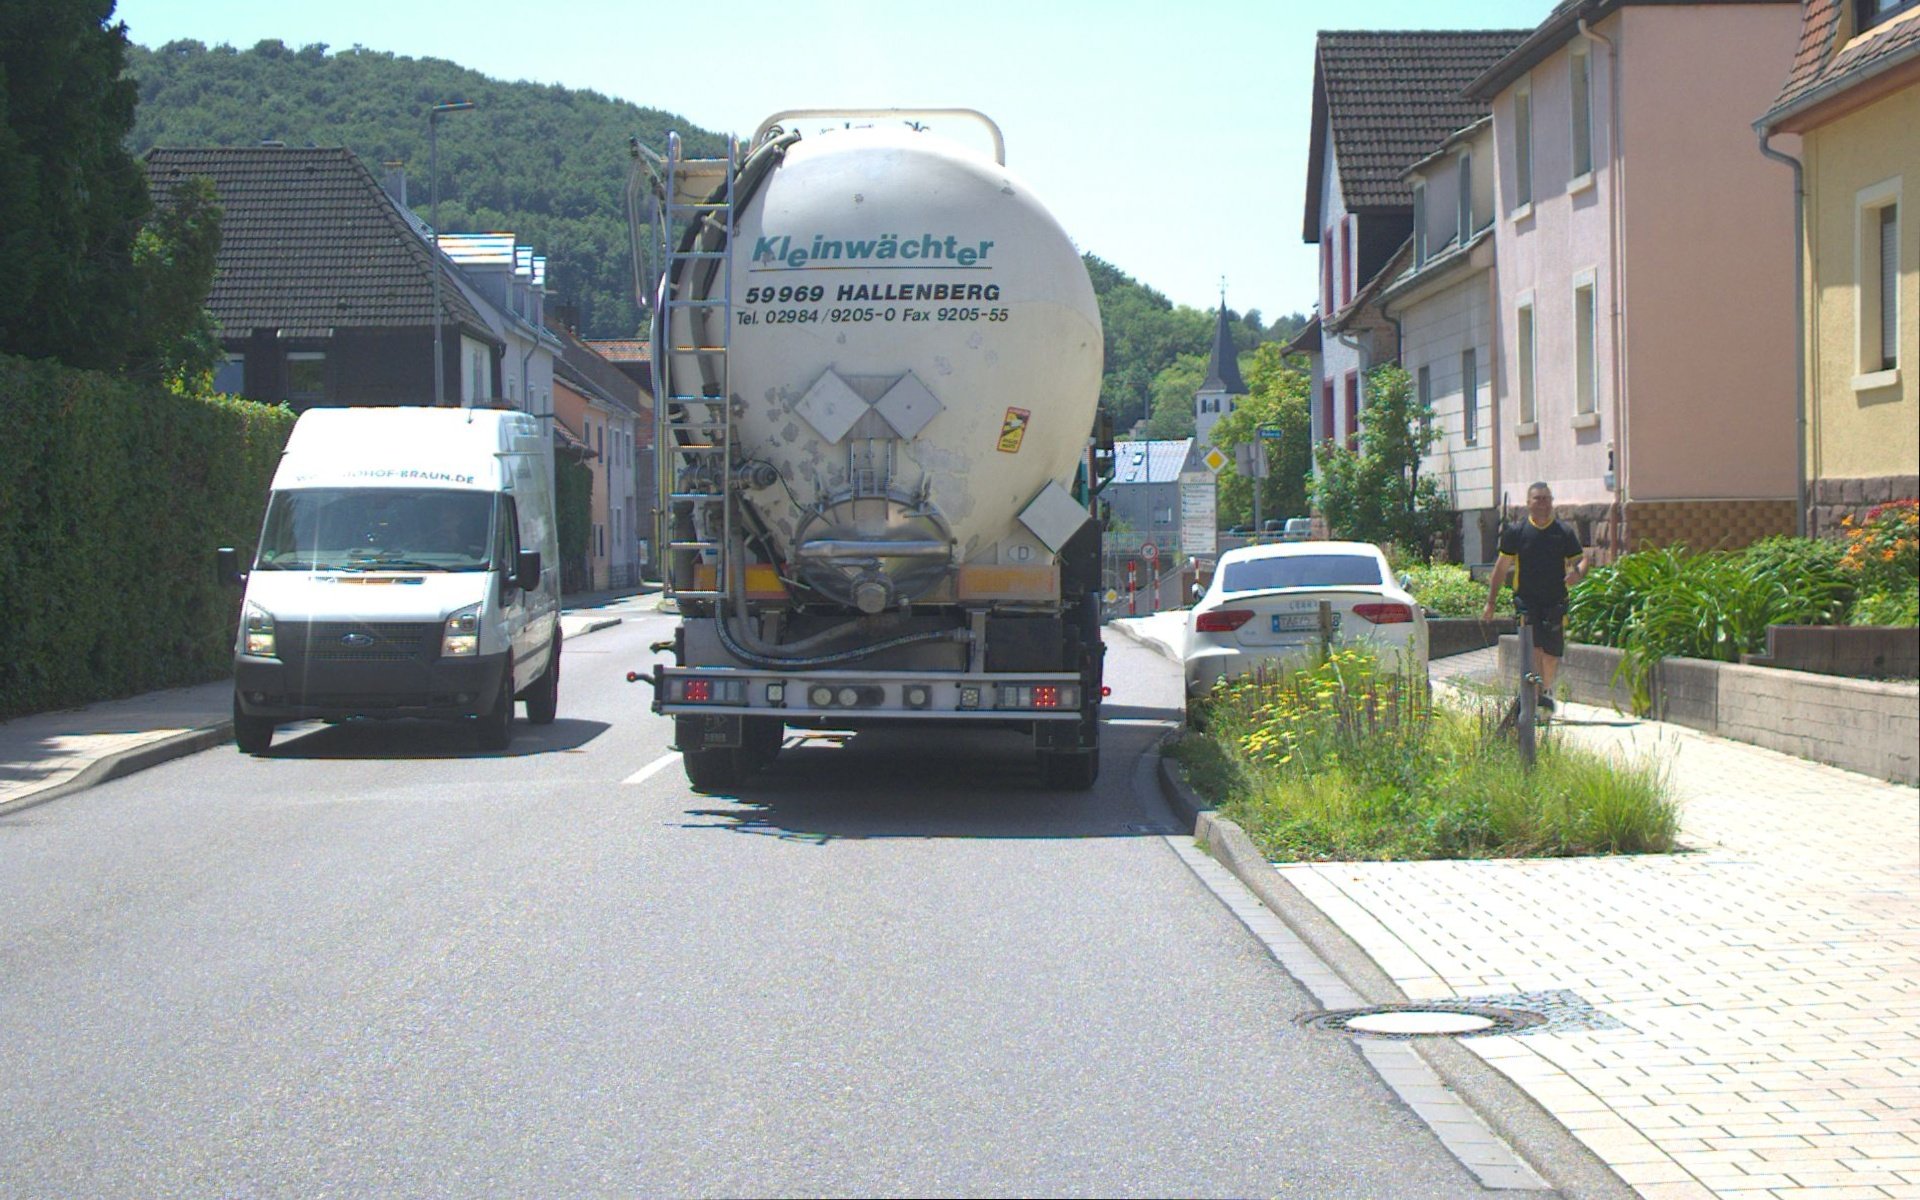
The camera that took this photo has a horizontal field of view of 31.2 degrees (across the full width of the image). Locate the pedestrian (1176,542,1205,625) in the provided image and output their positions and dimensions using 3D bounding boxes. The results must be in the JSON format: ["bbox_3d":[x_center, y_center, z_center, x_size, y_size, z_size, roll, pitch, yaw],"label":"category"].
[{"bbox_3d":[4.773,-0.342,71.163,0.571,1.688,0.721,1,0,3],"label":"pedestrian"}]

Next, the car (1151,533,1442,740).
[{"bbox_3d":[2.543,0.279,27.009,1.756,1.413,4.633,-2,0,0],"label":"car"}]

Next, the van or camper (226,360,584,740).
[{"bbox_3d":[-4.320,-0.361,27.688,2.037,2.704,5.824,1,0,-1],"label":"van or camper"}]

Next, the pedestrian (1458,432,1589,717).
[{"bbox_3d":[4.067,-0.179,24.868,0.746,2.007,1.033,1,0,0],"label":"pedestrian"}]

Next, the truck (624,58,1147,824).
[{"bbox_3d":[-0.541,-0.931,23.687,2.750,4.043,10.890,0,1,-2],"label":"truck"}]
